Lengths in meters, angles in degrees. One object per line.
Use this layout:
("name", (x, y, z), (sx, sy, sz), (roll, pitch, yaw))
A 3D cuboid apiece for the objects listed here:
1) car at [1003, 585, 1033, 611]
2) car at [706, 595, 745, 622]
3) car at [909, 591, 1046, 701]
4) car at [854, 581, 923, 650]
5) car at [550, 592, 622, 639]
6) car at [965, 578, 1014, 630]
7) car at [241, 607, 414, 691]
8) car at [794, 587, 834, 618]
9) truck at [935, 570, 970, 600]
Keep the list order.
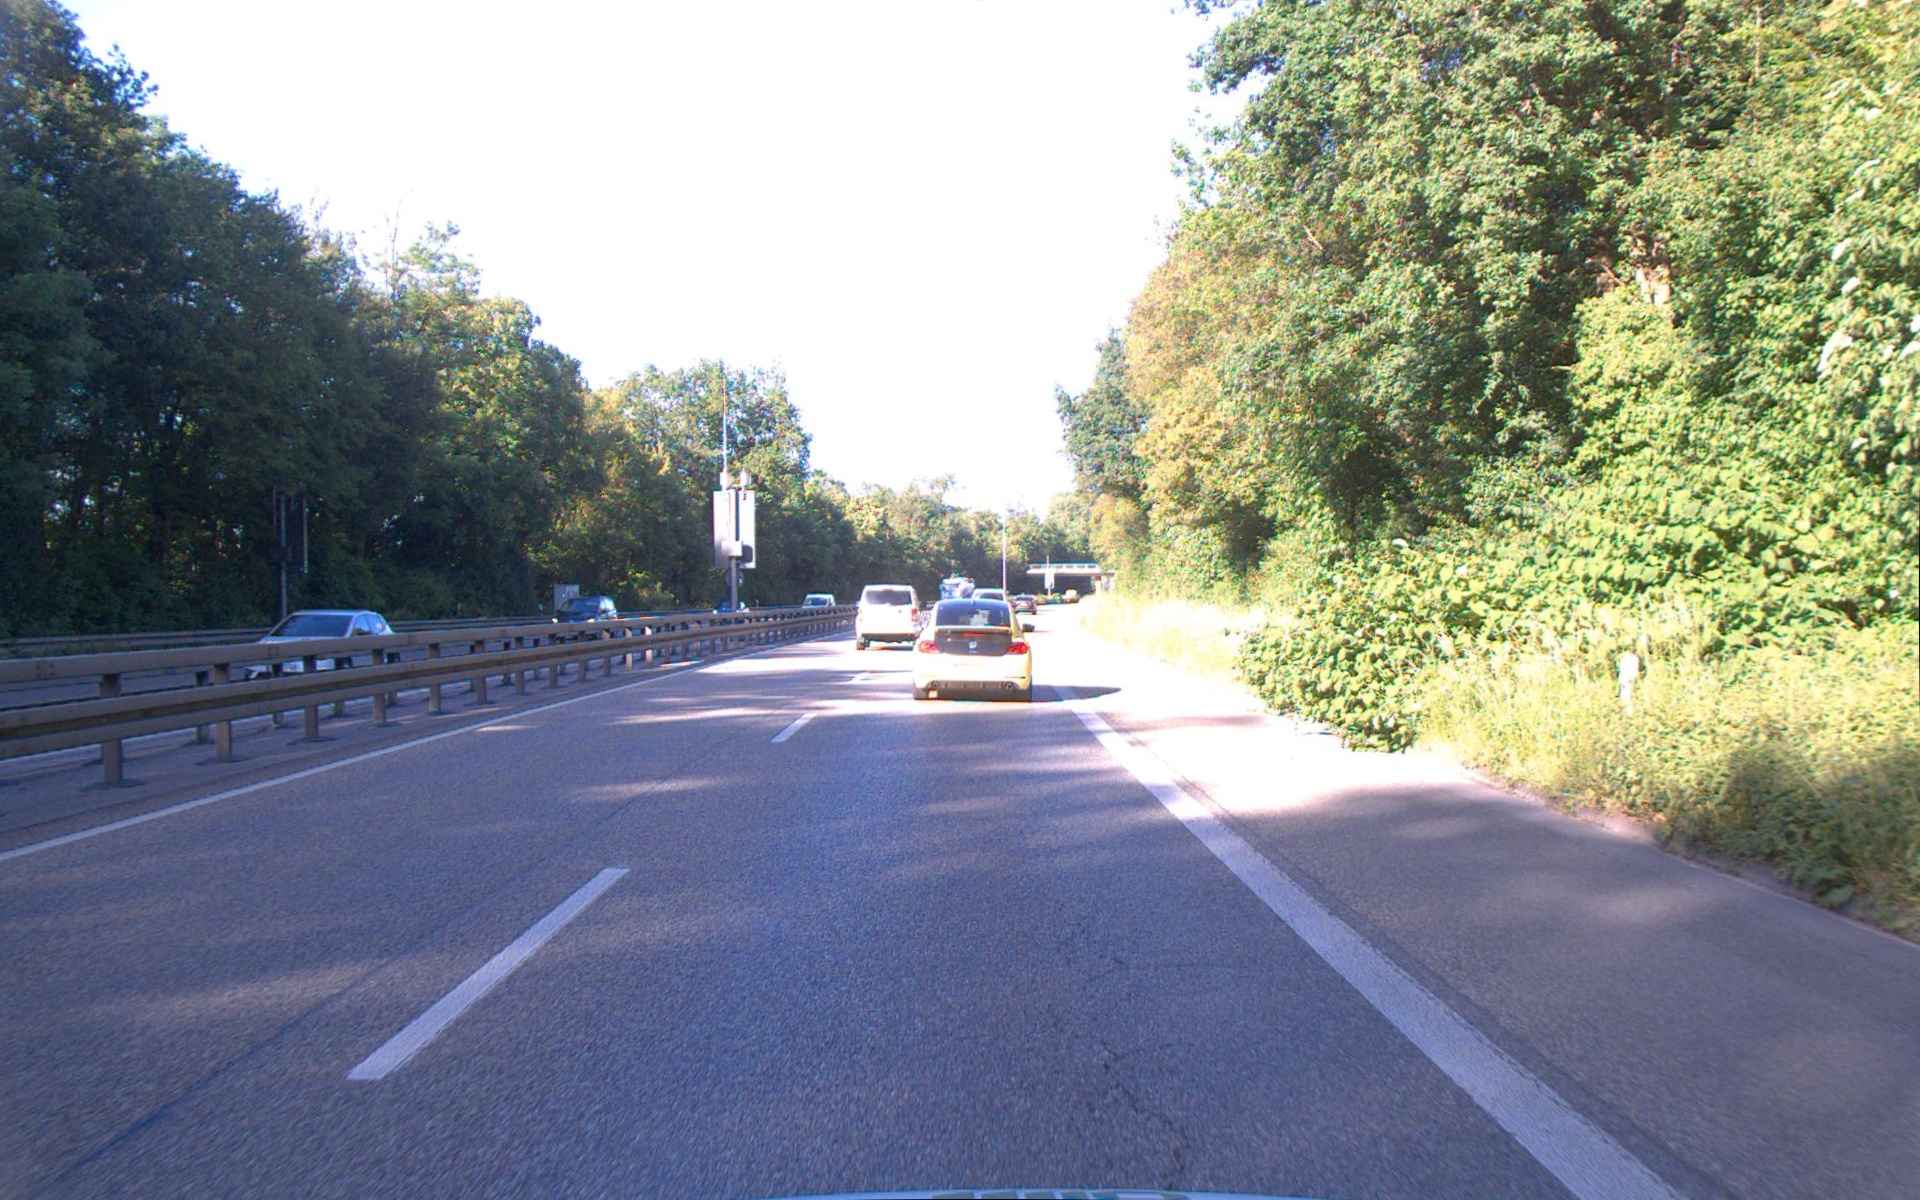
("car", (4.637, -0.157, 132.012), (2.216, 1.908, 5.079), (-2, 0, 4))
("car", (-13.476, 0.458, 95.035), (1.564, 1.506, 3.910), (-1, 0, 2))
("car", (0.196, 0.643, 25.063), (1.900, 1.534, 3.421), (0, 0, -2))
("car", (-1.970, 0.405, 46.452), (1.705, 1.862, 3.423), (0, 0, 1))
("car", (-14.607, 0.580, 64.800), (1.564, 1.667, 4.676), (-2, 0, 2))
("car", (1.249, 0.145, 70.165), (1.952, 2.048, 4.001), (-2, 0, 1))
("car", (-11.653, 0.867, 30.726), (1.564, 1.337, 3.910), (-2, 0, 2))
("car", (-9.418, 0.137, 107.193), (1.952, 1.820, 5.029), (-2, 0, 2))
("truck", (-0.937, -1.967, 213.136), (2.827, 3.582, 11.961), (-2, 0, 7))
